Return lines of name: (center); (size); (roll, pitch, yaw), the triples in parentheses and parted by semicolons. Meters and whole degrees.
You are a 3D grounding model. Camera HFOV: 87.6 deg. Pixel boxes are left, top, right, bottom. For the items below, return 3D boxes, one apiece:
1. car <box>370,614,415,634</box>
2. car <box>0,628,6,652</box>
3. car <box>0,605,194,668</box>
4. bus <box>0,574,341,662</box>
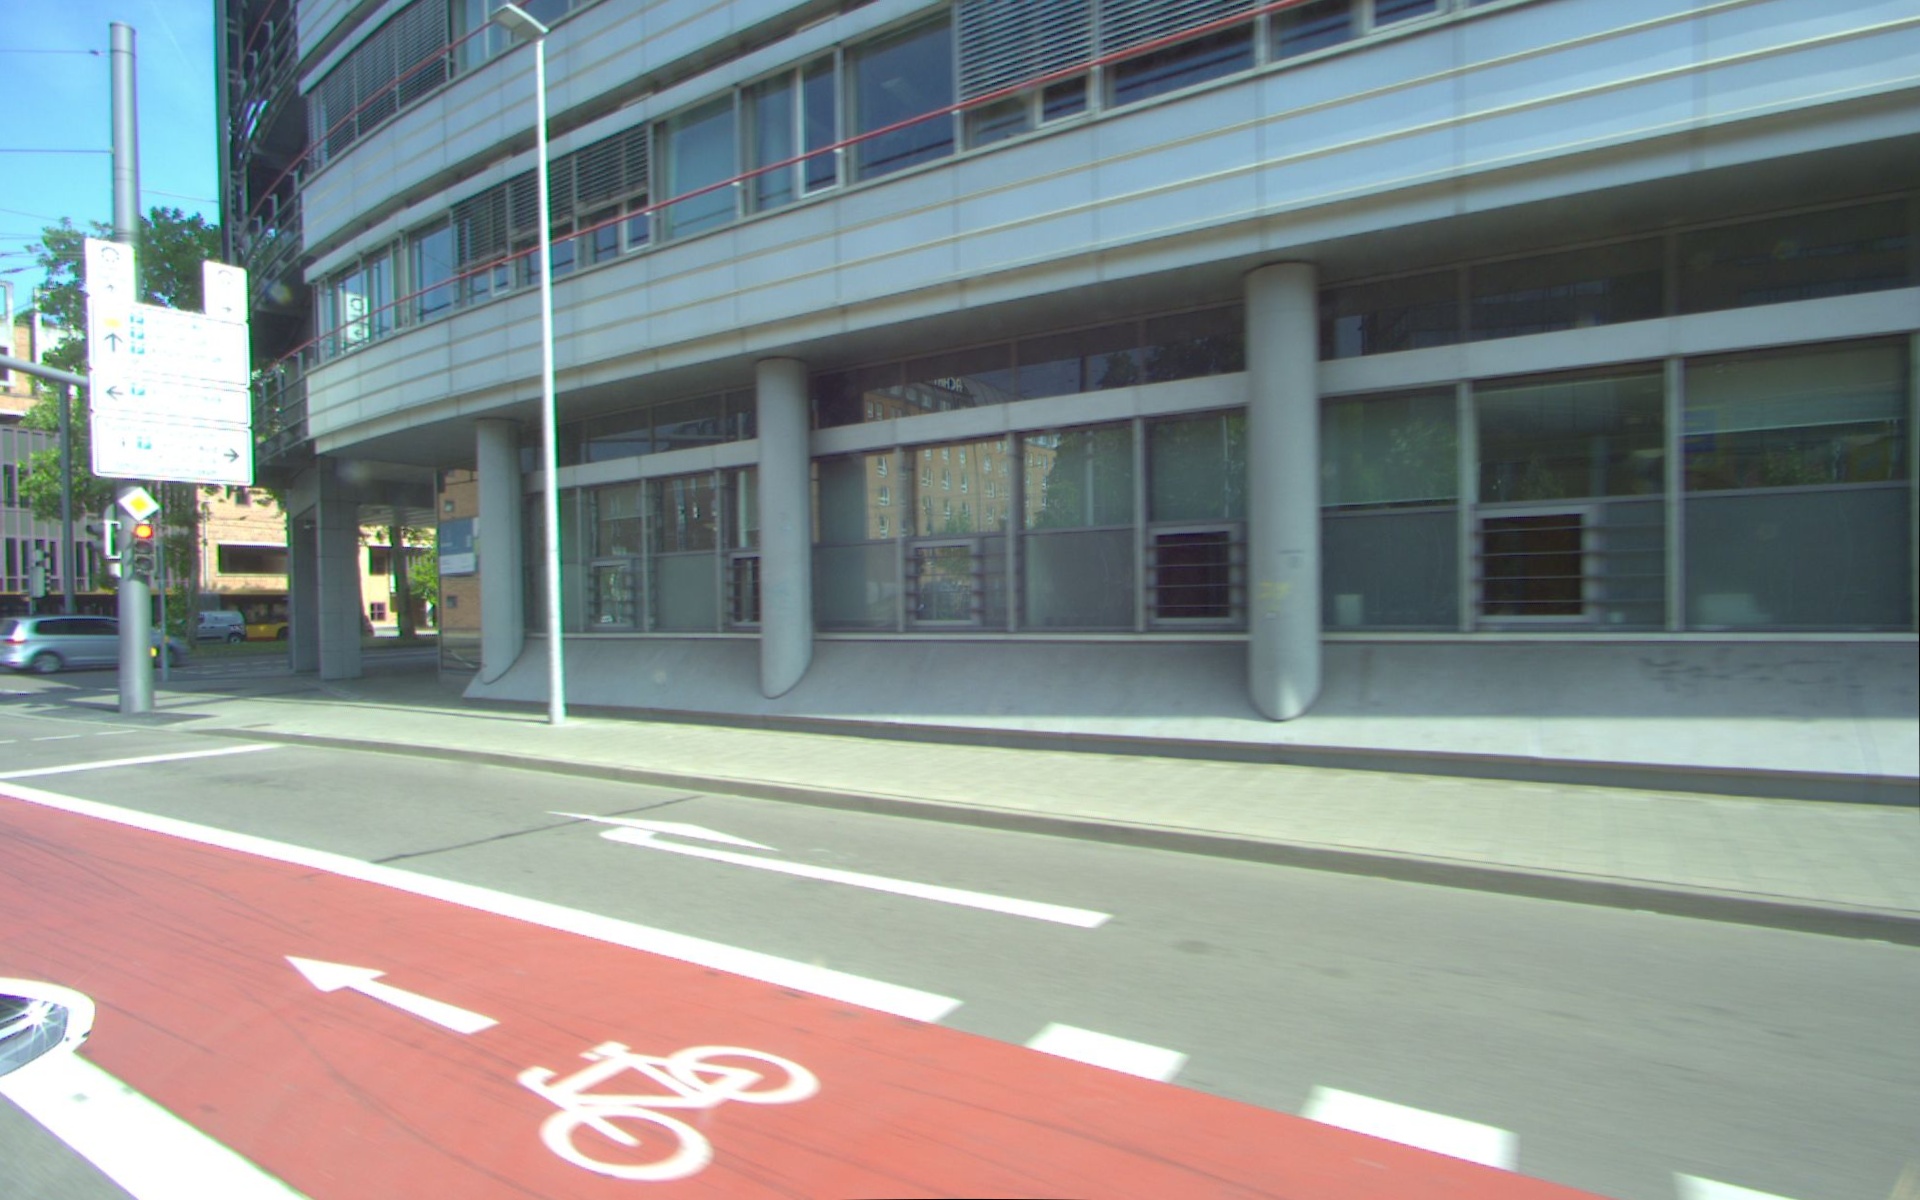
car: (-32.917, 1.392, 58.117); (0.712, 1.125, 2.236); (-2, -1, 28)
car: (-40.361, 1.653, 40.791); (1.077, 0.970, 1.948); (-1, 0, 30)
car: (-25.376, 0.999, 29.341); (1.663, 1.656, 4.376); (1, 1, 26)
bus: (-40.681, 0.898, 50.640); (2.817, 3.859, 17.622); (-2, -1, 22)
